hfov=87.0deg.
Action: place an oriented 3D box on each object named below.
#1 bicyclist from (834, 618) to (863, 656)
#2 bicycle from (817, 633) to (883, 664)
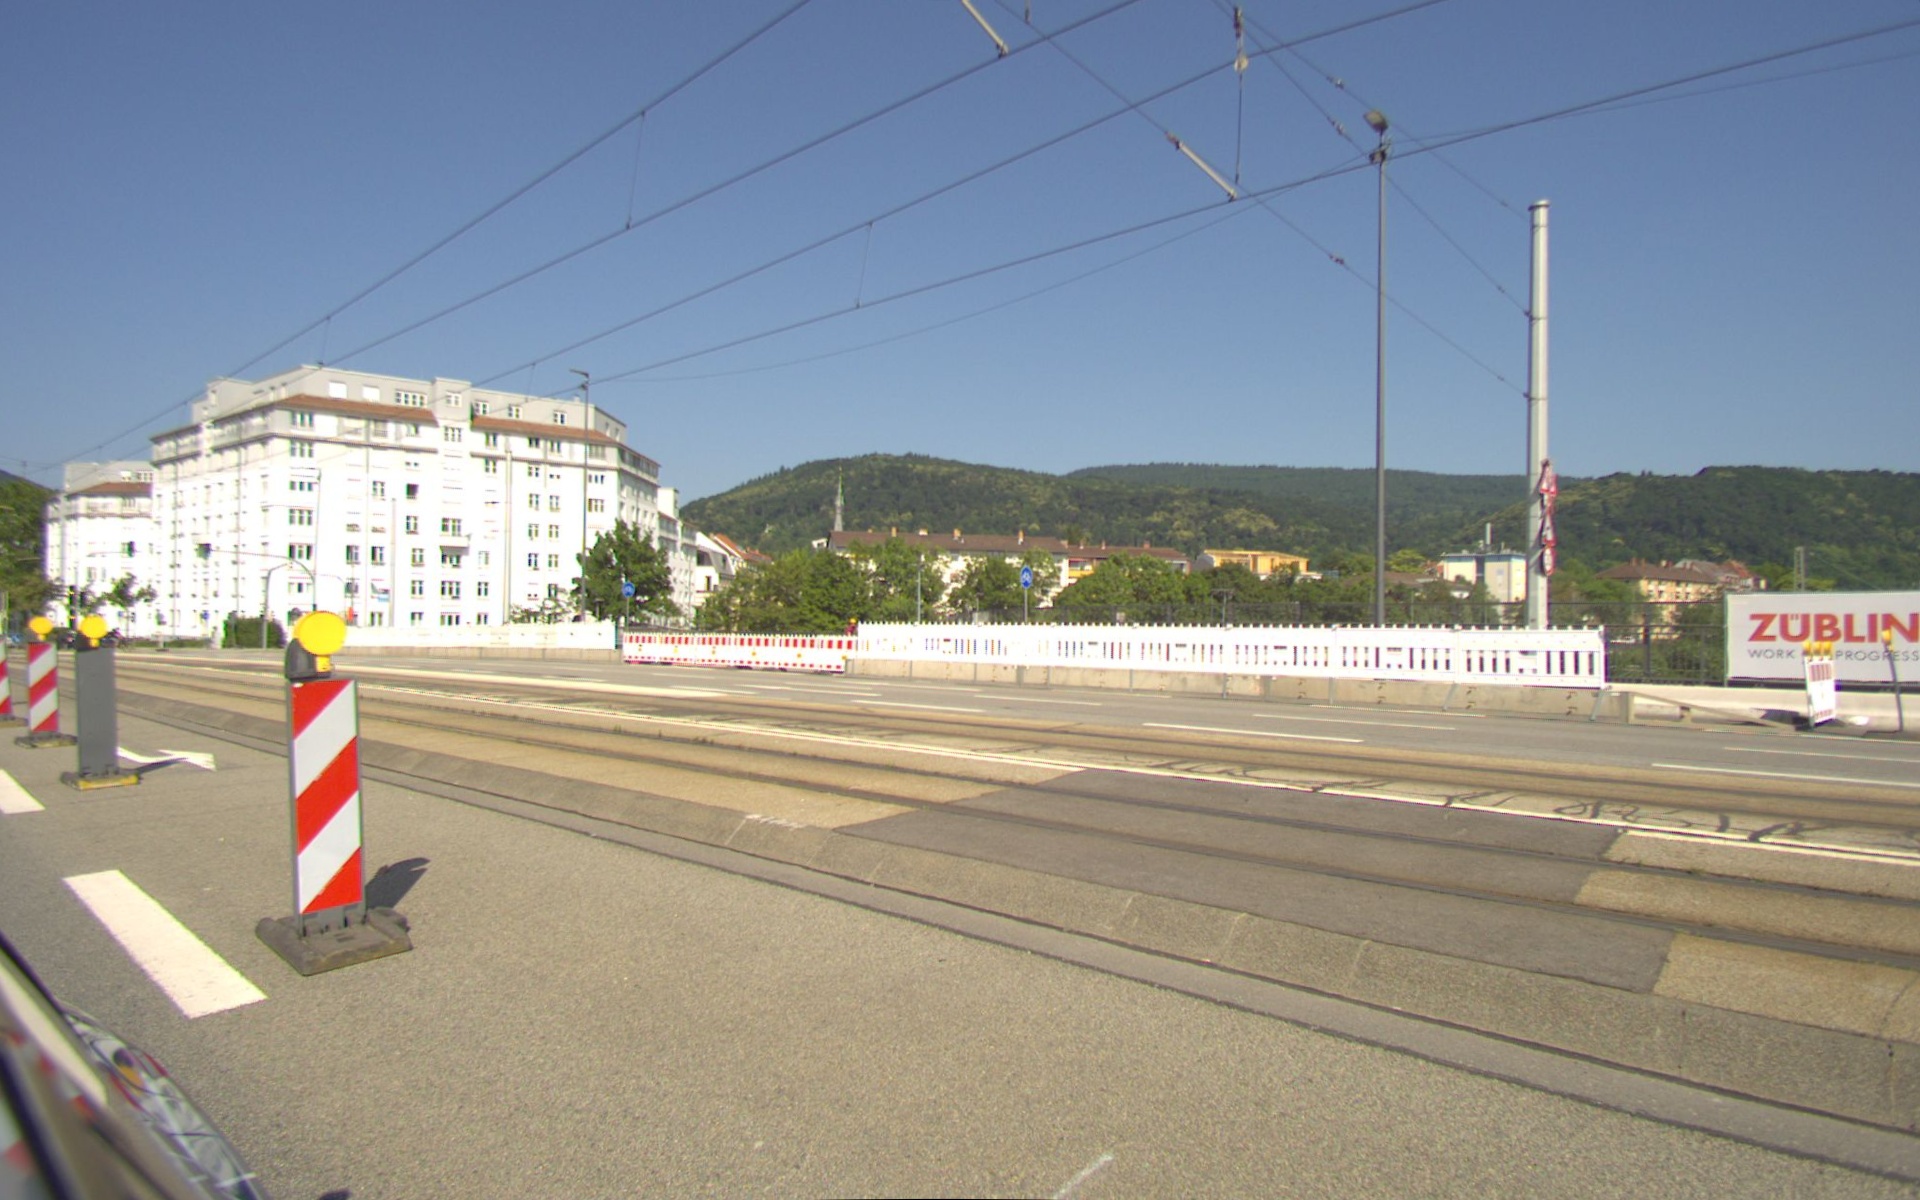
[{"bbox_3d":[-4.598,1.536,41.801,0.817,1.530,0.847,-1,0,41],"label":"bicyclist"},{"bbox_3d":[-4.574,1.986,41.766,3.070,1.204,0.847,-1,0,41],"label":"bicycle"}]
